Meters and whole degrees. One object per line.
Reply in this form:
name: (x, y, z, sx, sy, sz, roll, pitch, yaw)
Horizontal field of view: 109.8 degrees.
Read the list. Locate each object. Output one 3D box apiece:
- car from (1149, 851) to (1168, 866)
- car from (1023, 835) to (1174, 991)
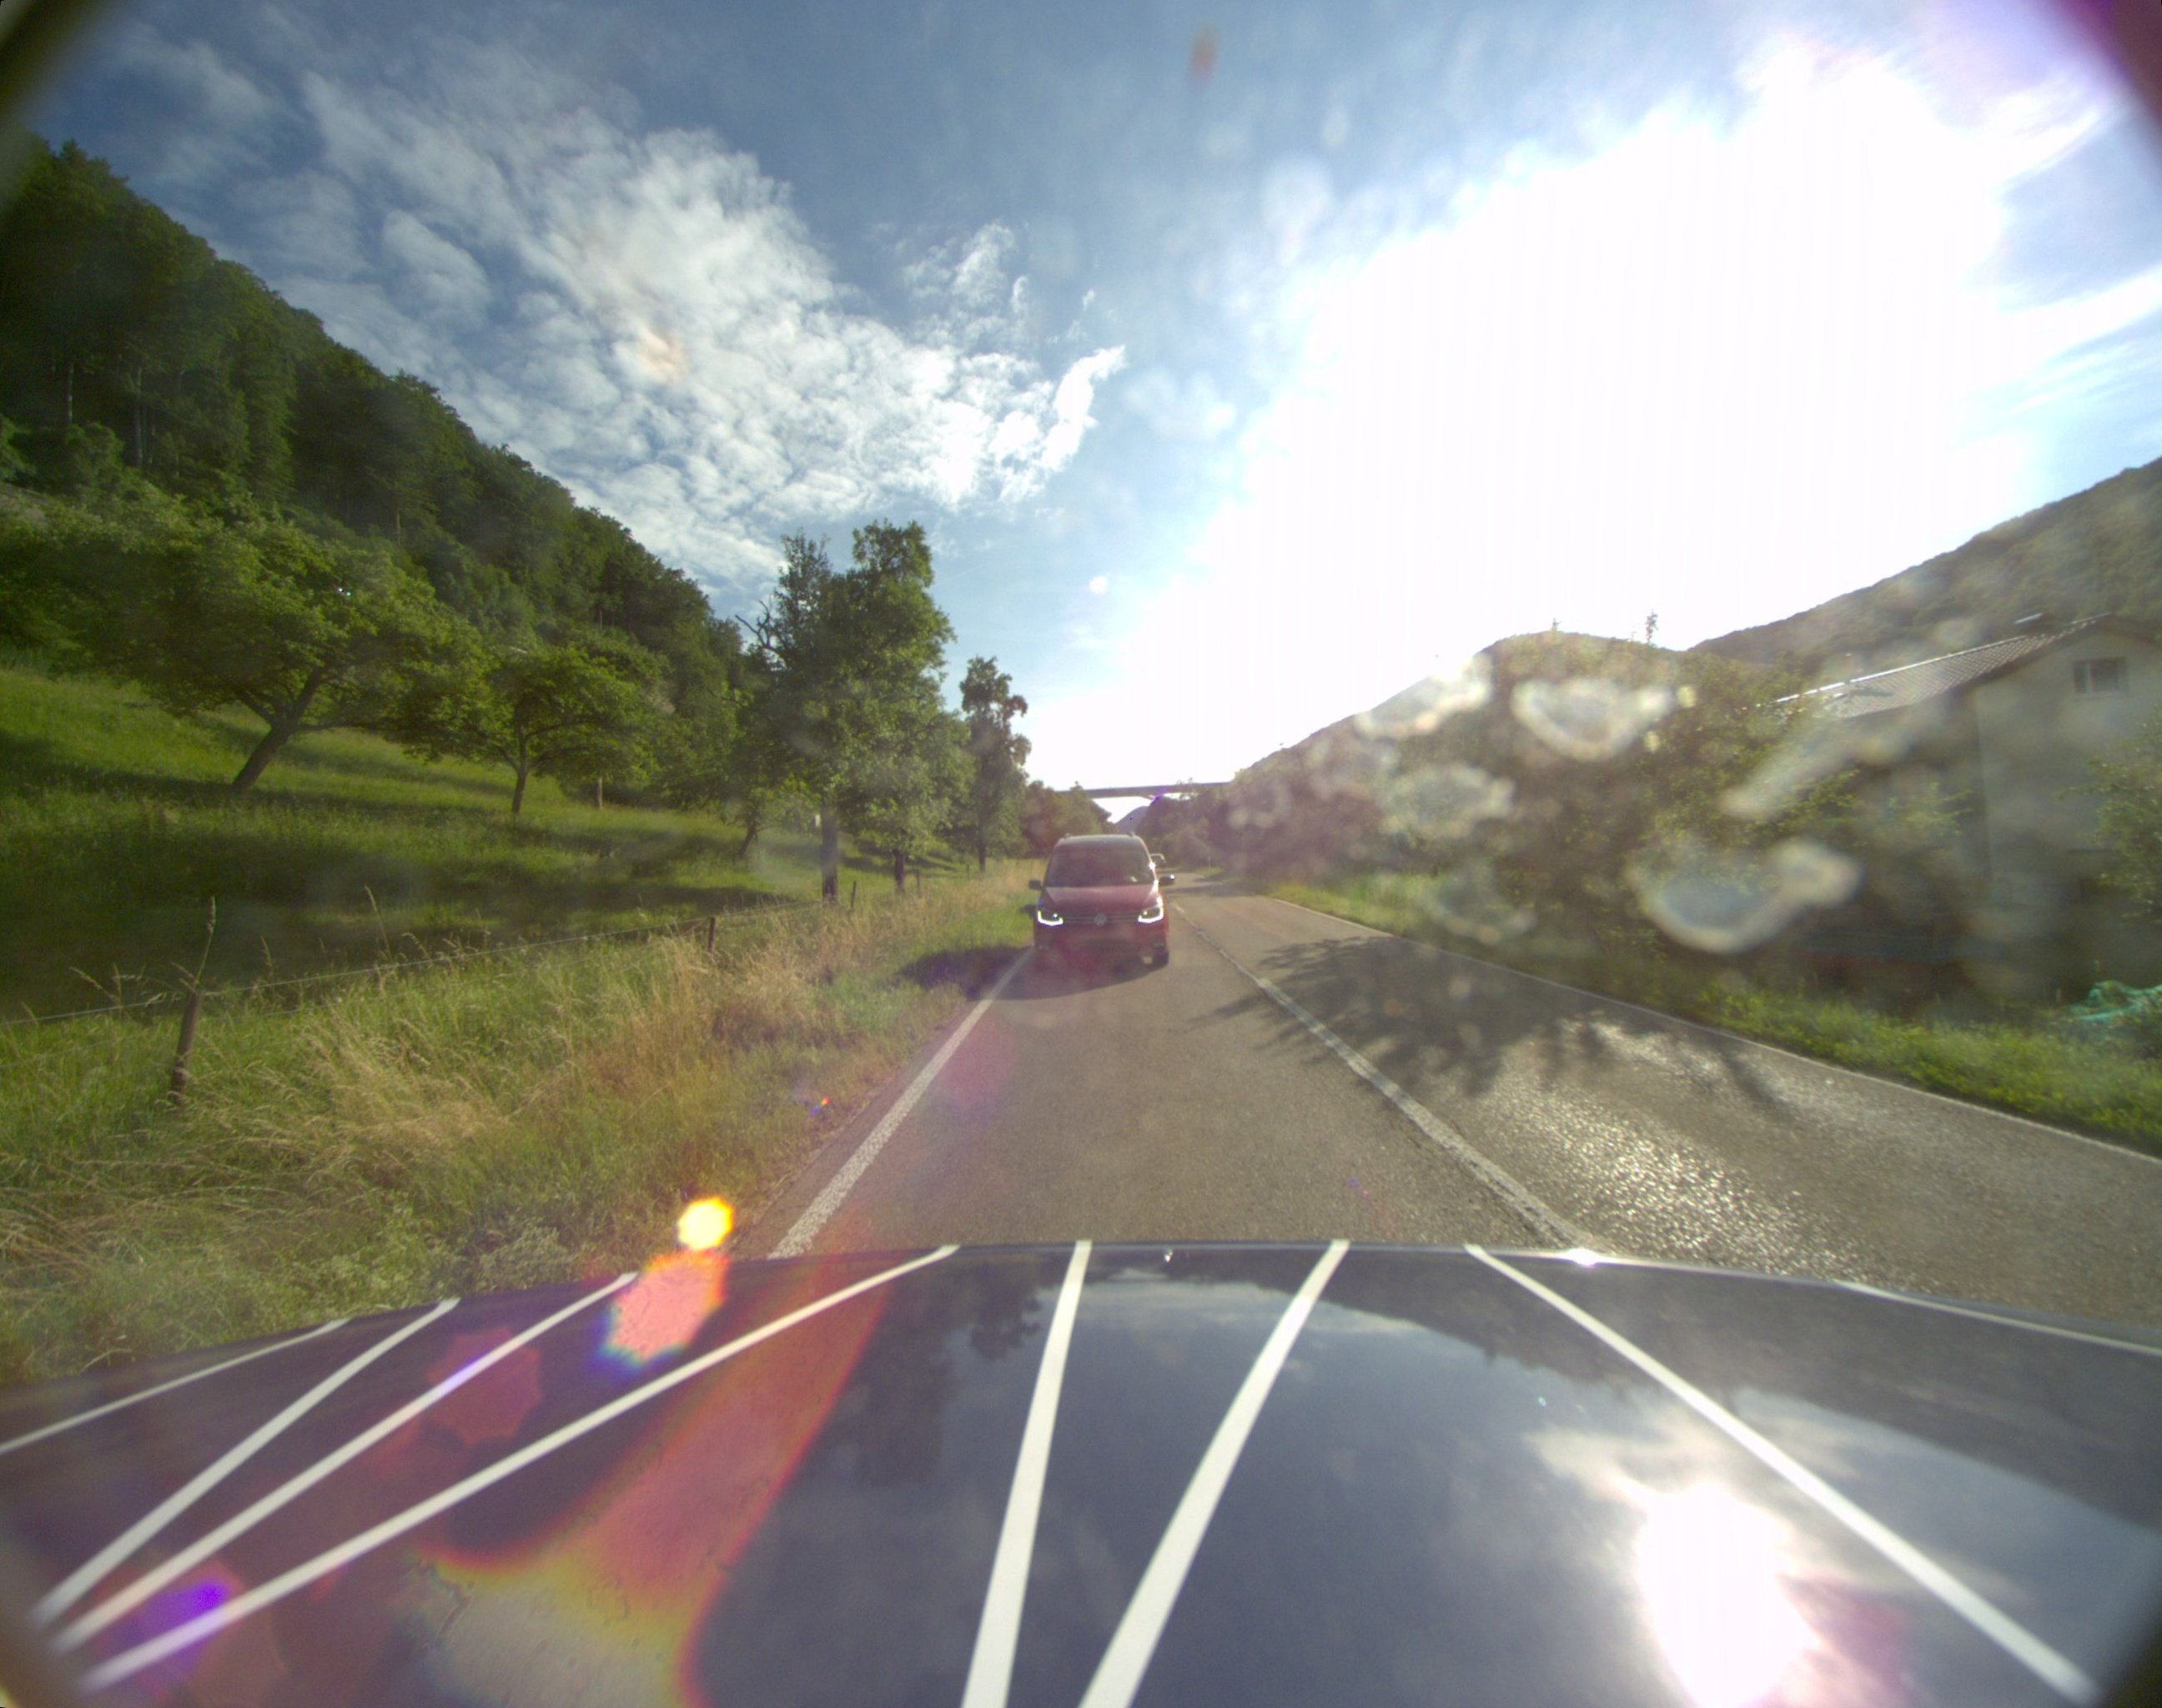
car: (7.504, 0.415, 73.865, 1.696, 1.401, 3.664, -1, 1, 3)
car: (0.249, 0.689, 10.925, 1.741, 1.803, 4.000, -1, 0, 1)
